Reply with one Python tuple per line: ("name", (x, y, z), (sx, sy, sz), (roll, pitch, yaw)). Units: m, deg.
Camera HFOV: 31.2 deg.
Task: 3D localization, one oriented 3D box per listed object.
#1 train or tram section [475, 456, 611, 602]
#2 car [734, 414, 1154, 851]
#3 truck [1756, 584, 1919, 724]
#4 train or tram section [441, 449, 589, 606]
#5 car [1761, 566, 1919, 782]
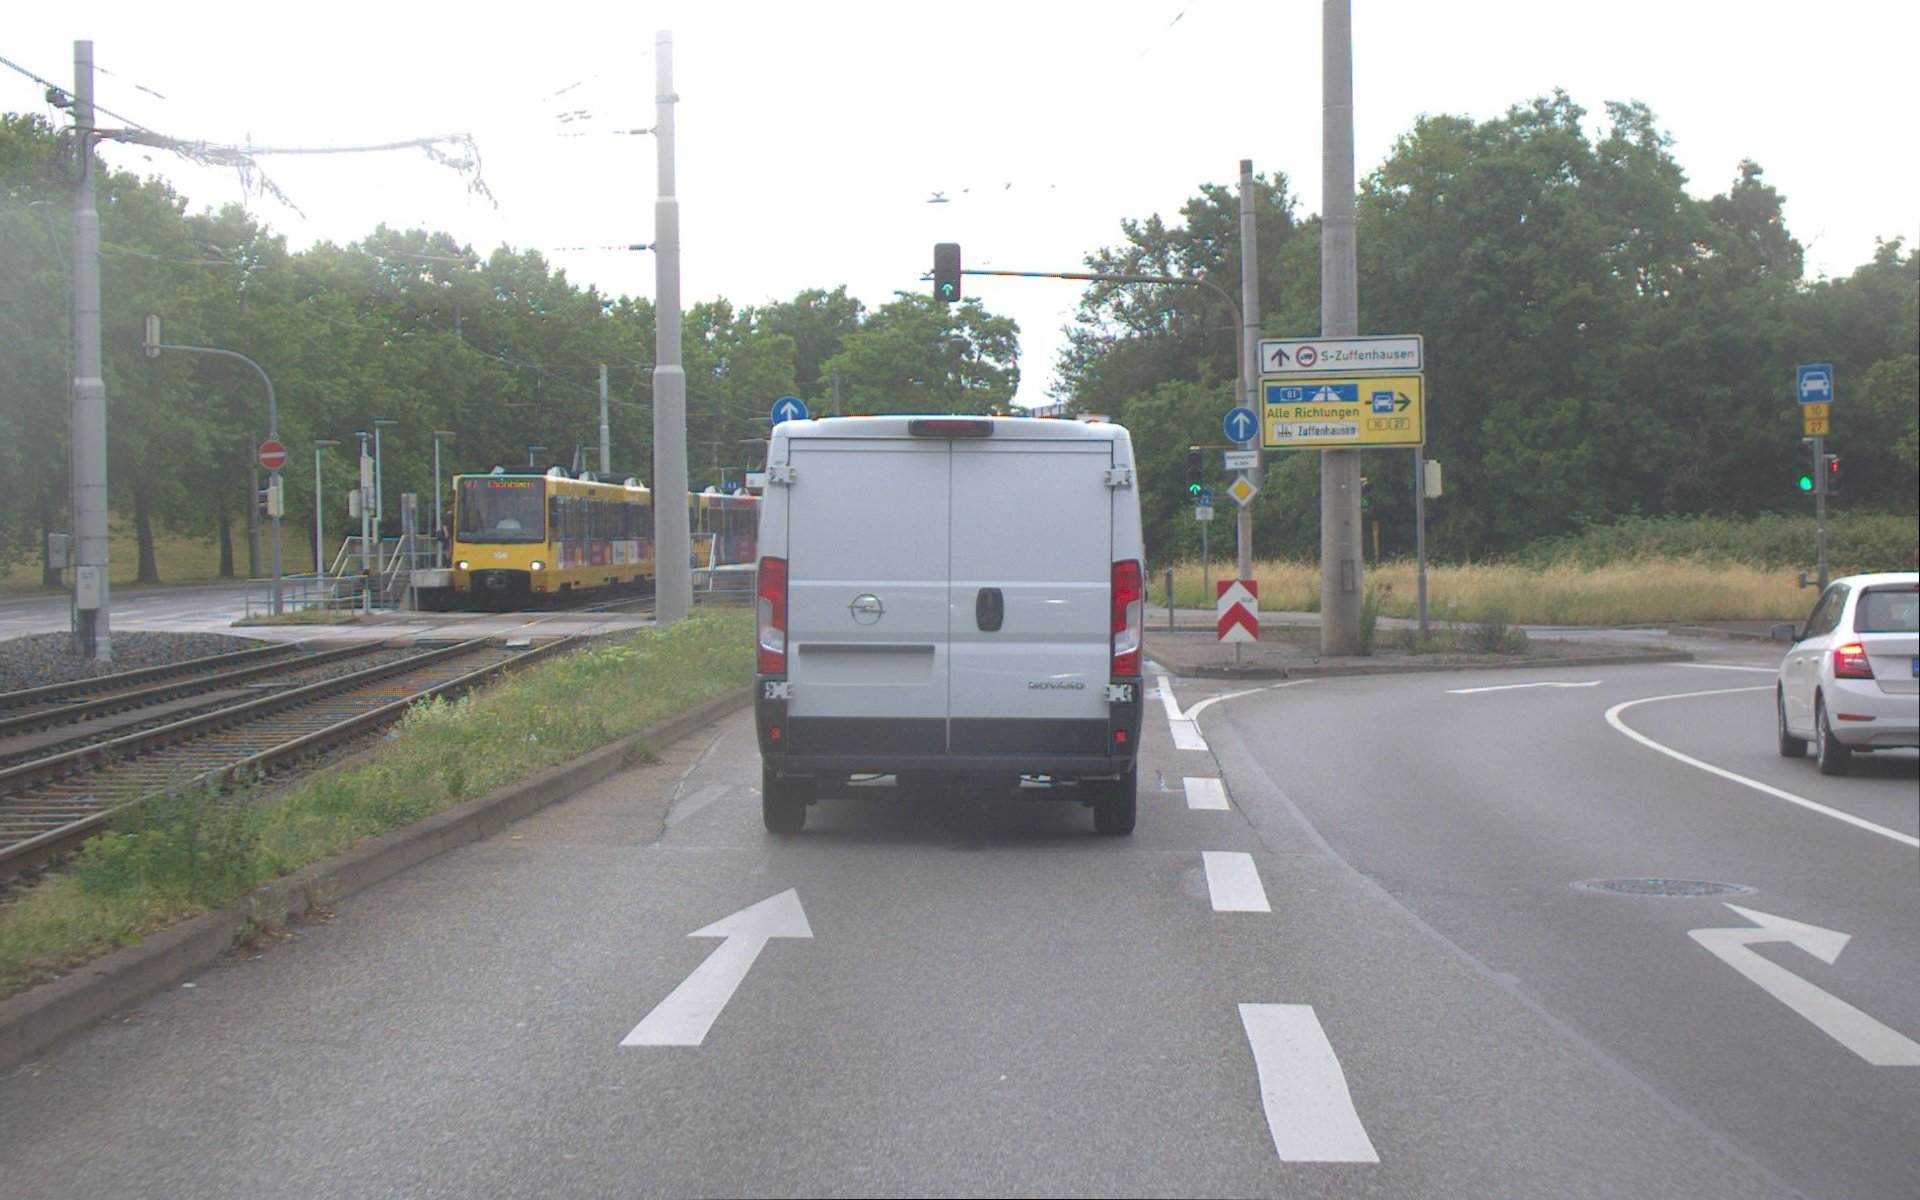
("train or tram section", (-11.752, -1.990, 97.437), (2.928, 3.919, 7.006), (2, 1, 0))
("car", (-0.165, 0.108, 20.057), (2.090, 2.189, 5.062), (1, 1, -2))
("truck", (12.587, 0.717, 48.412), (1.996, 1.784, 4.409), (0, 1, 22))
("train or tram section", (-11.722, -1.895, 91.075), (2.928, 3.919, 7.006), (2, 1, 0))
("car", (7.034, 0.503, 25.520), (1.747, 1.452, 3.670), (1, 1, 8))
